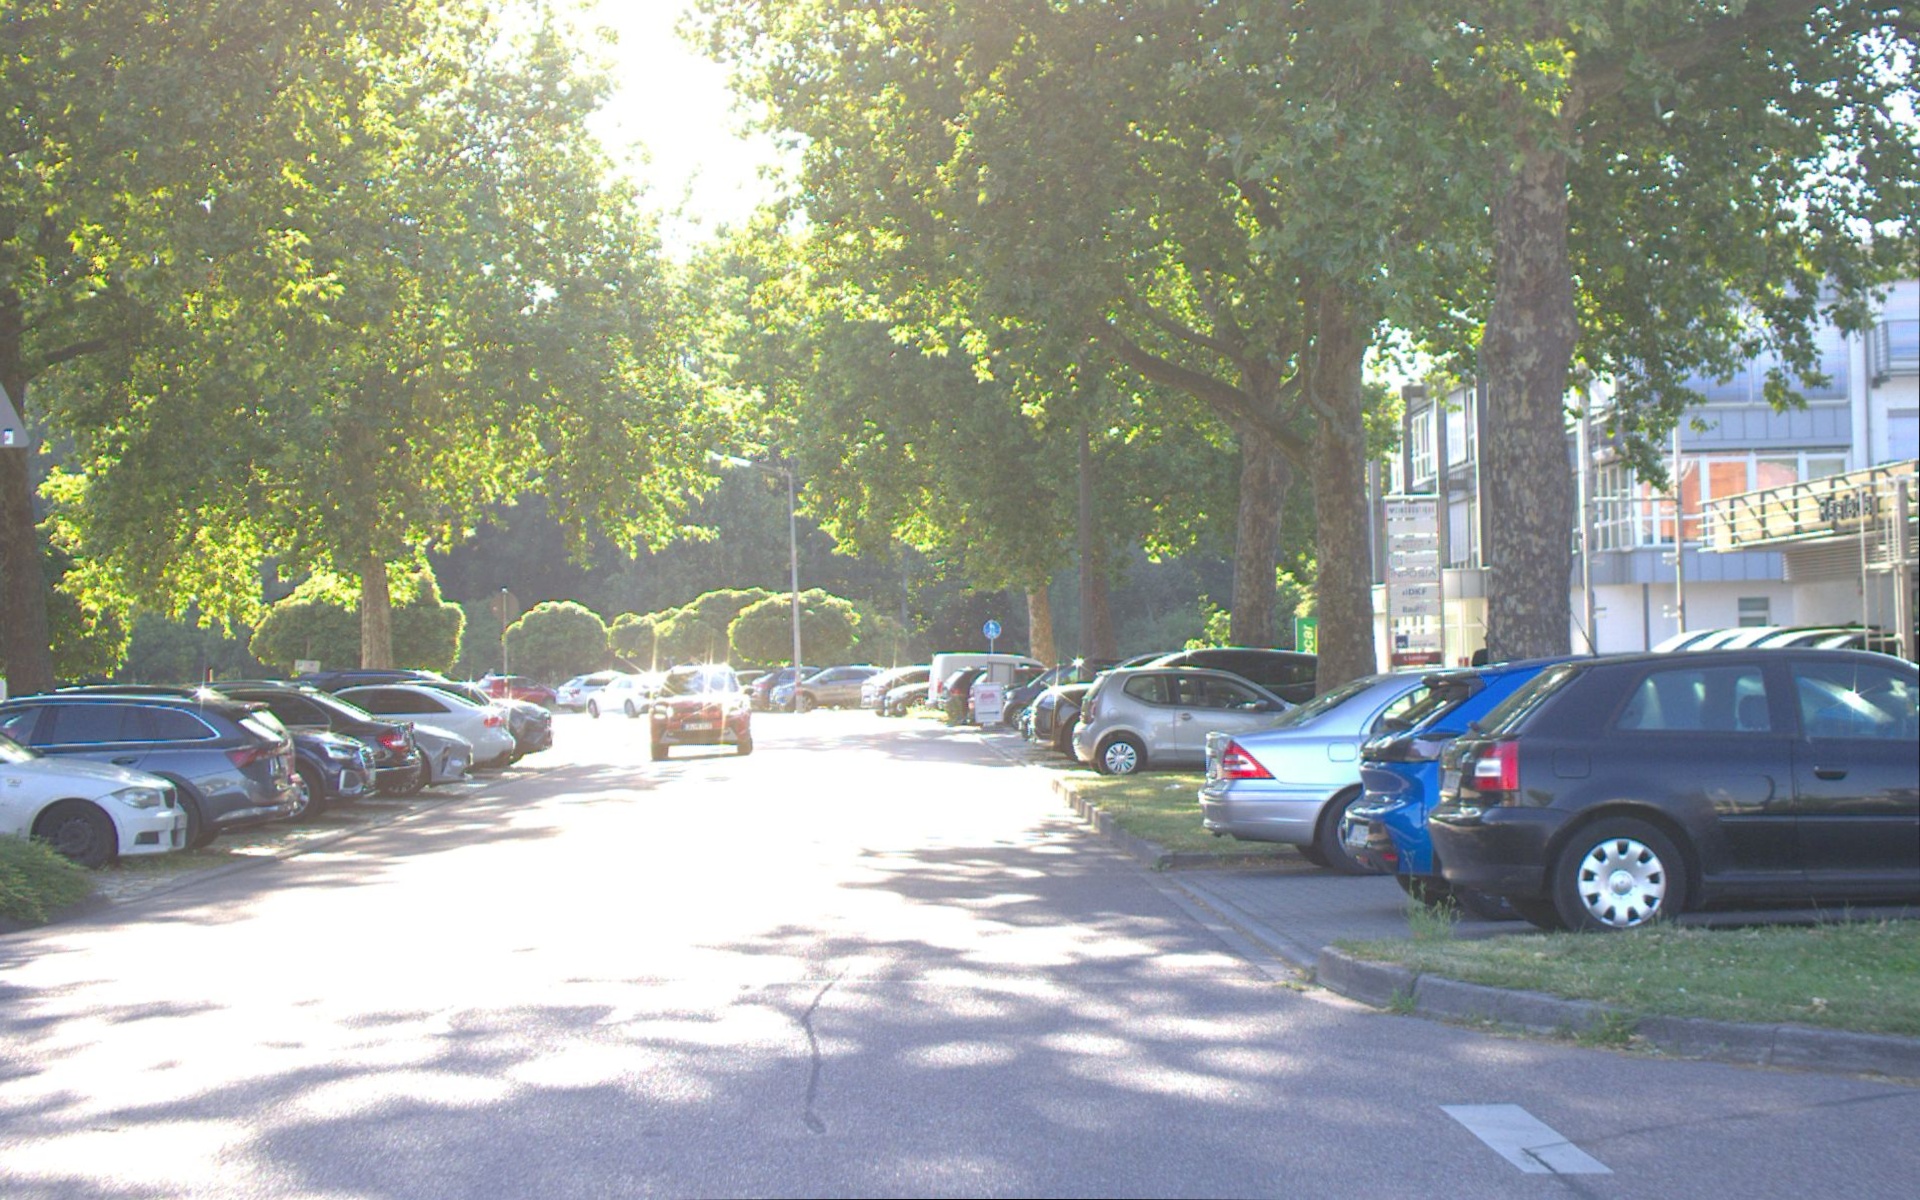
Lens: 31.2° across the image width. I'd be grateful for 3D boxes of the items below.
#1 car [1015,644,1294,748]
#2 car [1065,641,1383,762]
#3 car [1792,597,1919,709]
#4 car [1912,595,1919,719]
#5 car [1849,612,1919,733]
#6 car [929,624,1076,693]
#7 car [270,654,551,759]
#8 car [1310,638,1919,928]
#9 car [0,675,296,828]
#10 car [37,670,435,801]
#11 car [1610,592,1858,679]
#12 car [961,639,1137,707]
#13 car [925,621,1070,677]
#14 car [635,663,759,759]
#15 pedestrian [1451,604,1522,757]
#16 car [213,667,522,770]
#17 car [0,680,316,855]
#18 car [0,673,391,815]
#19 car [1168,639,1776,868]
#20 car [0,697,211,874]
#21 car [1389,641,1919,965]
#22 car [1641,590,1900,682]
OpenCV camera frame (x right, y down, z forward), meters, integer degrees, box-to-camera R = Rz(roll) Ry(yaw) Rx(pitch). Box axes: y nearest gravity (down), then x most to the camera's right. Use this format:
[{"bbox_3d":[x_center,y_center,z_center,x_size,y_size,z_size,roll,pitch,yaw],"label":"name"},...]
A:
[{"bbox_3d":[2.872,1.418,51.347,3.987,1.376,1.827,-2,0,-1],"label":"car"},{"bbox_3d":[3.445,1.323,45.374,3.987,1.411,1.827,-2,0,-1],"label":"car"},{"bbox_3d":[13.709,0.711,47.319,3.986,1.499,2.000,0,0,-2],"label":"car"},{"bbox_3d":[13.895,0.689,41.902,3.986,1.541,2.000,0,0,-2],"label":"car"},{"bbox_3d":[13.811,0.917,44.624,3.986,1.541,2.000,0,0,-2],"label":"car"},{"bbox_3d":[1.160,1.615,95.790,3.987,1.771,1.827,-2,0,-1],"label":"car"},{"bbox_3d":[-9.260,1.786,58.181,4.415,1.692,2.000,0,0,1],"label":"car"},{"bbox_3d":[4.116,0.985,19.448,3.987,1.411,2.000,-2,0,-1],"label":"car"},{"bbox_3d":[-9.377,1.579,36.229,4.415,1.512,2.000,0,0,-2],"label":"car"},{"bbox_3d":[-8.784,1.635,41.977,4.415,1.512,2.000,0,0,1],"label":"car"},{"bbox_3d":[13.975,0.638,62.210,3.986,1.541,2.000,0,0,-2],"label":"car"},{"bbox_3d":[2.048,1.698,79.955,3.987,1.411,1.827,-2,0,-1],"label":"car"},{"bbox_3d":[1.031,1.358,96.410,3.987,1.411,1.827,-2,0,-1],"label":"car"},{"bbox_3d":[-4.741,1.989,62.421,1.993,1.603,4.000,1,0,-1],"label":"car"},{"bbox_3d":[6.964,1.056,45.523,0.851,2.007,0.779,0,-1,4],"label":"pedestrian"},{"bbox_3d":[-9.089,1.813,52.993,4.415,1.512,2.000,0,0,1],"label":"car"},{"bbox_3d":[-8.313,1.525,31.706,4.415,1.512,2.000,0,0,-2],"label":"car"},{"bbox_3d":[-8.752,1.604,38.843,4.415,1.512,2.000,0,0,-4],"label":"car"},{"bbox_3d":[3.571,1.062,24.495,3.987,1.411,1.827,-2,0,-1],"label":"car"},{"bbox_3d":[-8.727,1.564,29.244,4.414,1.398,2.000,0,0,-6],"label":"car"},{"bbox_3d":[4.295,0.943,17.161,3.987,1.411,2.000,-2,0,-1],"label":"car"},{"bbox_3d":[14.059,0.623,59.799,3.986,1.541,2.000,0,0,-2],"label":"car"}]
